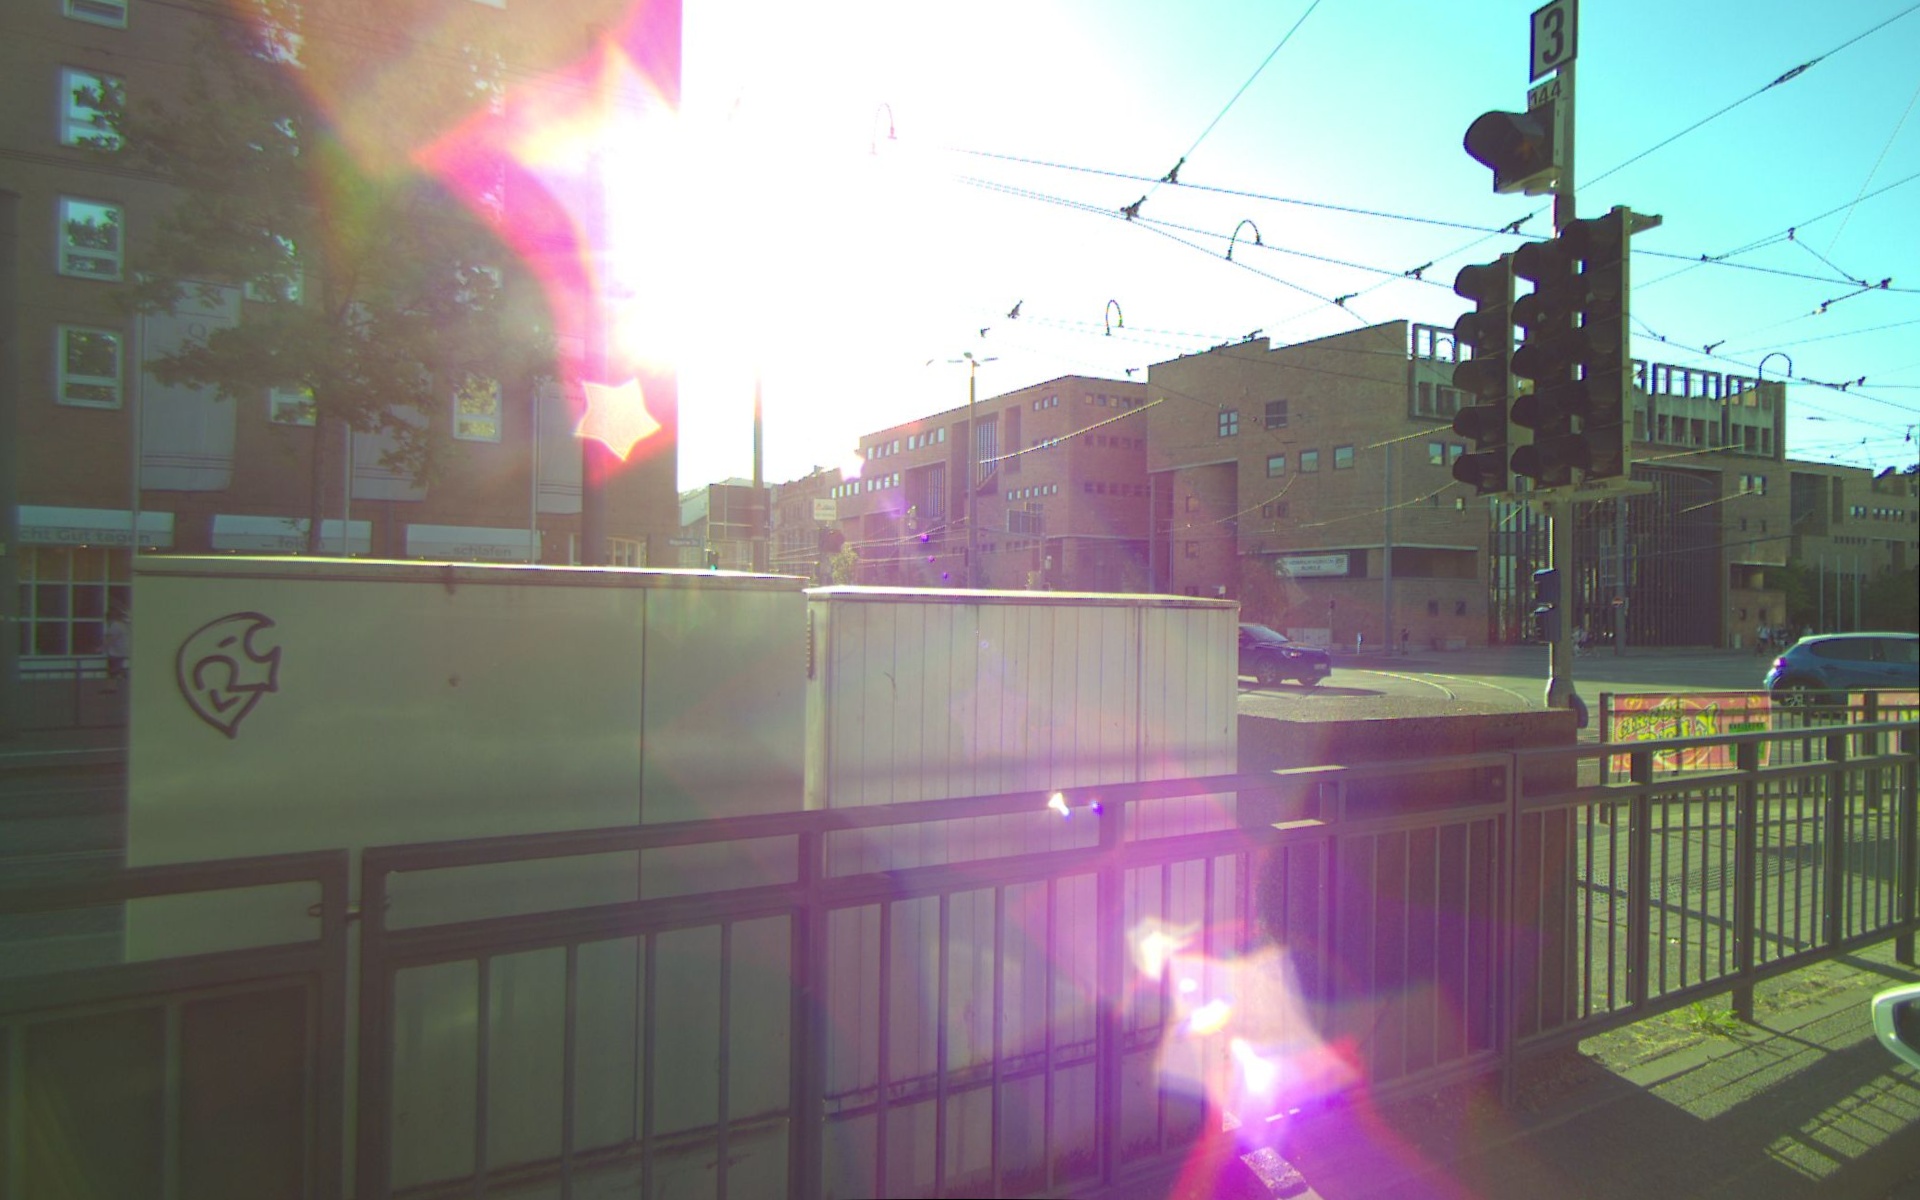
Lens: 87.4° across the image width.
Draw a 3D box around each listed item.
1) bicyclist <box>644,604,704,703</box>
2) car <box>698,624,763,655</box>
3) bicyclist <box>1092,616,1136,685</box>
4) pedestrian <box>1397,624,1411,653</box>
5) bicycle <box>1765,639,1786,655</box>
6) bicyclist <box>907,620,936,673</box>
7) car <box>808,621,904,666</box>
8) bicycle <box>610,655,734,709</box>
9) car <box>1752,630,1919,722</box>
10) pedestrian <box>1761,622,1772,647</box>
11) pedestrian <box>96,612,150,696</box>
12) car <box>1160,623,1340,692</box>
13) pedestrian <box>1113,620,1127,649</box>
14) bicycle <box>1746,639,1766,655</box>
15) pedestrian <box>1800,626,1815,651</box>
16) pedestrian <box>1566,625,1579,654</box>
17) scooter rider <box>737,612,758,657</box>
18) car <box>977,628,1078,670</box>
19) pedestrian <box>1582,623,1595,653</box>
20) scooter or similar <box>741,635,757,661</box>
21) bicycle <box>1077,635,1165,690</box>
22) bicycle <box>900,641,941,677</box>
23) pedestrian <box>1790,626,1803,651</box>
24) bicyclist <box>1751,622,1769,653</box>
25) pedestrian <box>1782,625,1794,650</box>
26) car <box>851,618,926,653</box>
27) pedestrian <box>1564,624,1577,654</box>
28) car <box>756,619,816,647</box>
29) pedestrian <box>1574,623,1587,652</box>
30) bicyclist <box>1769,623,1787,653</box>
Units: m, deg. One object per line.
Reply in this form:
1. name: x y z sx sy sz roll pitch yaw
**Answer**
1. bicyclist: -5.349 0.988 18.835 0.835 1.809 0.753 0 -1 7
2. car: -12.421 2.088 54.112 1.980 1.538 4.356 0 -1 -35
3. bicyclist: 3.900 1.257 25.451 0.683 1.703 0.899 1 -1 -31
4. pedestrian: 25.268 2.200 57.179 0.560 1.635 0.545 0 -1 1
5. bicycle: 45.814 2.649 56.424 1.823 0.893 0.509 1 -2 -38
6. bicyclist: -1.254 1.515 32.872 0.631 1.686 0.901 1 -1 -27
7. car: -4.491 1.802 42.721 1.981 1.750 4.801 1 -1 -36
8. bicycle: -5.385 1.523 18.837 2.140 0.946 0.668 0 -1 8
9. car: 16.305 1.267 17.173 1.979 1.476 3.931 1 -2 -33
10. pedestrian: 59.994 2.590 74.723 0.538 1.834 0.488 1 -1 -23
11. pedestrian: -16.603 1.061 19.933 0.717 1.606 0.586 1 1 -31
12. car: 7.408 1.413 26.078 1.805 1.604 4.457 1 -1 -32
13. pedestrian: 9.486 2.042 59.560 0.608 1.635 0.539 -1 2 -35
14. bicycle: 45.161 2.679 56.980 1.823 0.893 0.509 1 -2 -38
15. pedestrian: 62.199 2.810 73.705 0.538 1.834 0.640 1 -1 -23
16. pedestrian: 35.025 2.260 57.439 0.530 1.672 0.622 -1 -1 41
17. scooter rider: -9.337 1.515 44.144 0.727 1.921 0.661 1 -2 -27
18. car: 2.482 1.795 37.691 1.807 1.453 3.884 1 -1 -34
19. pedestrian: 35.218 2.100 56.299 0.530 1.672 0.622 -1 -1 41
20. scooter or similar: -9.281 2.089 44.157 0.397 1.119 1.202 1 -1 -27
21. bicycle: 4.024 1.536 25.253 1.060 1.243 2.146 0 0 -31
22. bicycle: -1.304 1.921 32.954 0.621 1.078 1.916 1 -1 -27
23. pedestrian: 60.975 2.793 73.212 0.538 1.803 0.521 1 -1 -23
24. bicyclist: 45.334 2.114 56.905 0.782 1.697 0.589 1 -1 -36
25. pedestrian: 61.609 2.793 74.711 0.538 1.834 0.488 1 -1 -23
26. car: -3.785 1.825 52.558 1.981 1.719 4.315 1 -2 -36
27. pedestrian: 34.236 2.179 56.332 0.530 1.672 0.622 -1 -1 41
28. car: -10.821 2.026 62.366 1.981 1.719 4.315 1 -2 -36
29. pedestrian: 35.687 2.159 57.793 0.530 1.672 0.622 -1 -1 41
30. bicyclist: 45.918 2.131 56.369 0.782 1.697 0.589 1 -1 -36
